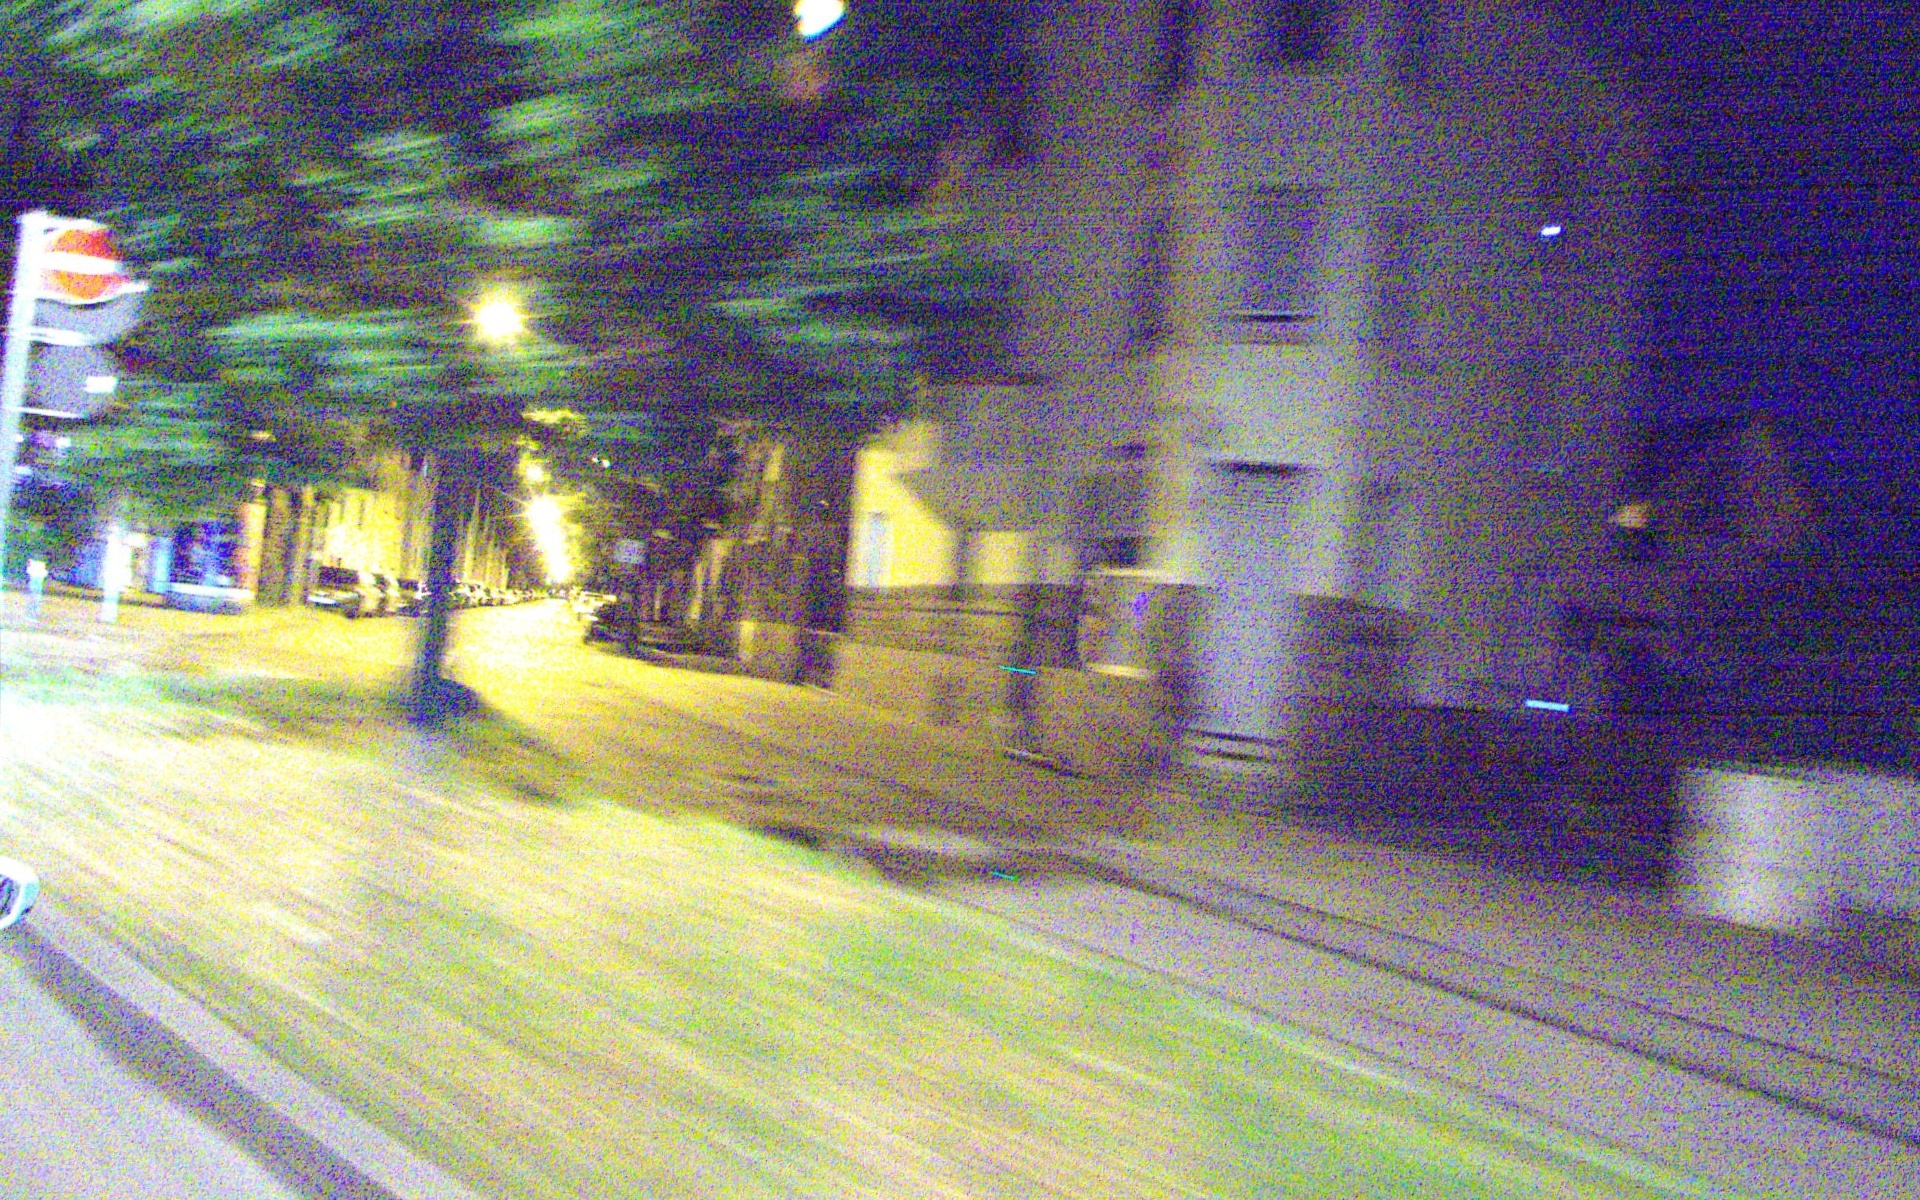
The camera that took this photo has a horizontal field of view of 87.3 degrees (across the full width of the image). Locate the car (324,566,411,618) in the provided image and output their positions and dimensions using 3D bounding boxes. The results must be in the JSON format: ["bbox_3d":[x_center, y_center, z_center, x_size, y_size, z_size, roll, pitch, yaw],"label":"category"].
[{"bbox_3d":[-20.215,-0.267,34.478,1.778,1.433,3.822,8,-3,-20],"label":"car"}]

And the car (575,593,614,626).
[{"bbox_3d":[-22.319,0.567,61.351,1.973,1.723,3.978,8,-3,-21],"label":"car"}]

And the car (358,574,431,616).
[{"bbox_3d":[-22.210,-0.192,39.646,1.751,1.356,3.904,9,-3,-20],"label":"car"}]

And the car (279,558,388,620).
[{"bbox_3d":[-18.009,-0.285,29.112,1.778,1.433,3.822,8,-3,-20],"label":"car"}]

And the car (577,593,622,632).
[{"bbox_3d":[-19.088,0.631,53.197,1.973,1.723,4.014,8,-3,-21],"label":"car"}]

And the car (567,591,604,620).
[{"bbox_3d":[-27.537,0.380,73.865,1.977,1.822,3.976,9,-3,-26],"label":"car"}]

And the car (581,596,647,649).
[{"bbox_3d":[-11.396,0.701,33.067,1.778,1.433,3.822,8,-3,-20],"label":"car"}]

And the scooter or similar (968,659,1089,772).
[{"bbox_3d":[0.807,1.379,12.326,0.495,1.160,1.652,5,0,-33],"label":"scooter or similar"}]

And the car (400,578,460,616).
[{"bbox_3d":[-24.349,-0.152,46.336,1.751,1.433,3.904,8,-3,-20],"label":"car"}]

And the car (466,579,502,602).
[{"bbox_3d":[-36.026,-0.681,76.159,1.749,1.457,3.907,8,-3,-17],"label":"car"}]

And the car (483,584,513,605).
[{"bbox_3d":[-40.306,-0.452,87.815,1.837,1.569,3.984,8,-3,-20],"label":"car"}]

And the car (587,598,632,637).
[{"bbox_3d":[-16.889,0.819,48.527,1.777,1.597,3.824,8,-2,-19],"label":"car"}]
